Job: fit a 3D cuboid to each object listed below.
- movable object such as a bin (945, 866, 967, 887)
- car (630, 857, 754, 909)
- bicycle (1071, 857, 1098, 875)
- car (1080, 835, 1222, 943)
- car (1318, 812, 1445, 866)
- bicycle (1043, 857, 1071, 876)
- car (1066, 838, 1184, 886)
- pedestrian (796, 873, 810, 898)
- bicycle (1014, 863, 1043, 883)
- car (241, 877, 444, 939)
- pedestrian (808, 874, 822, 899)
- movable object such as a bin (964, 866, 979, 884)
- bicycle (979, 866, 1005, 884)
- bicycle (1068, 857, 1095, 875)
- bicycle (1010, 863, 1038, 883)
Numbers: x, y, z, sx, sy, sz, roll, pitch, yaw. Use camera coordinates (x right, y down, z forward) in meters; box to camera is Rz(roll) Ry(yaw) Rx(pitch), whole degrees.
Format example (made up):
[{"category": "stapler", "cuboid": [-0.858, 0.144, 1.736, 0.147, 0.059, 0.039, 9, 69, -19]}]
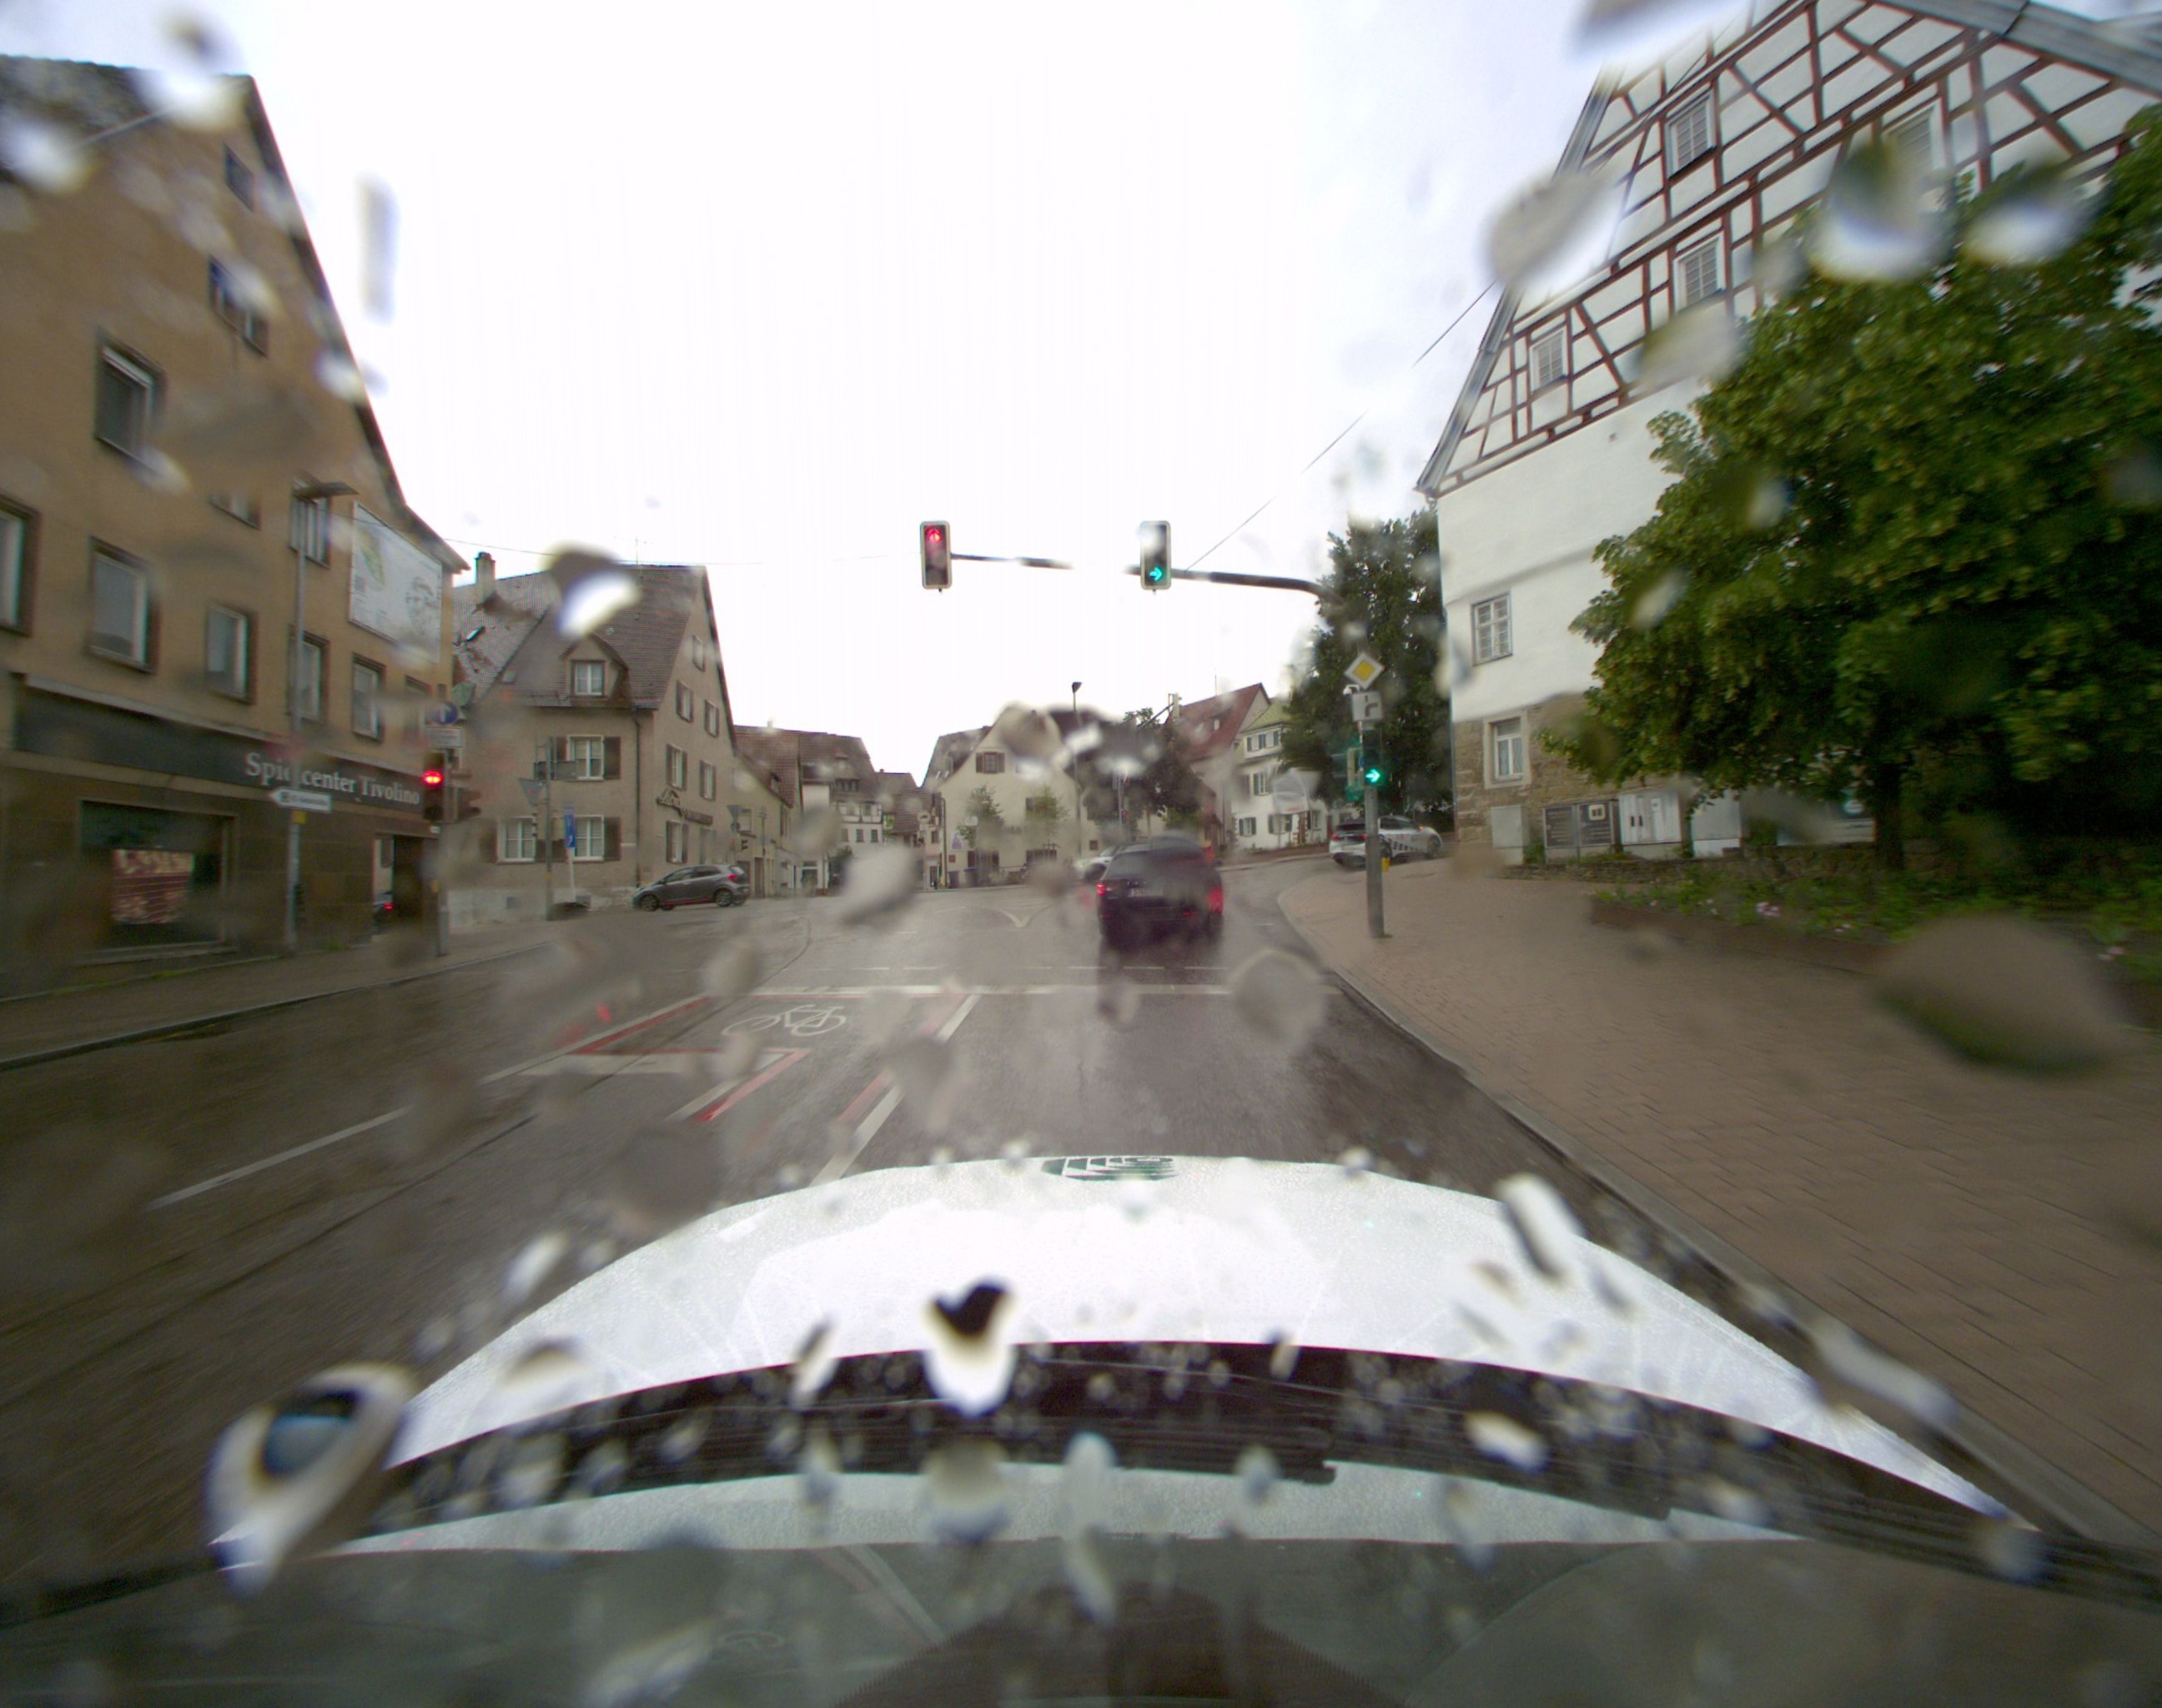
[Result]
[{"category": "movable object such as a bin", "cuboid": [-6.165, 1.112, 40.241, 0.717, 0.926, 0.793, -3, 1, 24]}, {"category": "car", "cuboid": [-13.097, 0.958, 27.566, 3.377, 1.477, 1.531, -4, 1, -8]}, {"category": "bicycle", "cuboid": [0.200, 0.637, 43.517, 1.474, 0.912, 0.389, -2, 2, -30]}, {"category": "car", "cuboid": [1.360, 0.463, 13.880, 1.874, 1.448, 4.371, -3, 1, 11]}, {"category": "car", "cuboid": [9.643, -0.491, 26.016, 4.018, 1.472, 1.842, -4, 1, -36]}, {"category": "bicycle", "cuboid": [-1.249, 0.658, 43.024, 1.474, 0.912, 0.389, -2, 2, -30]}, {"category": "car", "cuboid": [1.530, 0.256, 29.386, 3.980, 1.431, 1.997, -3, 1, -5]}, {"category": "pedestrian", "cuboid": [-19.769, 2.247, 57.926, 0.779, 1.732, 0.629, -4, 0, -9]}, {"category": "bicycle", "cuboid": [-2.663, 0.945, 41.454, 1.478, 0.912, 0.388, -4, 1, -43]}, {"category": "car", "cuboid": [-24.103, 1.737, 26.719, 4.723, 1.588, 1.828, -3, 1, -3]}, {"category": "pedestrian", "cuboid": [-18.965, 2.307, 58.062, 0.779, 1.732, 0.629, -4, 0, -9]}, {"category": "movable object such as a bin", "cuboid": [-5.625, 1.051, 41.721, 0.590, 0.901, 0.579, -2, 0, -29]}, {"category": "bicycle", "cuboid": [-4.448, 1.026, 40.694, 0.334, 0.818, 1.446, 1, 2, 39]}, {"category": "bicycle", "cuboid": [0.024, 0.656, 43.899, 1.474, 0.912, 0.389, -2, 2, -30]}, {"category": "bicycle", "cuboid": [-2.923, 0.965, 41.839, 1.478, 0.912, 0.388, -4, 1, -43]}]
